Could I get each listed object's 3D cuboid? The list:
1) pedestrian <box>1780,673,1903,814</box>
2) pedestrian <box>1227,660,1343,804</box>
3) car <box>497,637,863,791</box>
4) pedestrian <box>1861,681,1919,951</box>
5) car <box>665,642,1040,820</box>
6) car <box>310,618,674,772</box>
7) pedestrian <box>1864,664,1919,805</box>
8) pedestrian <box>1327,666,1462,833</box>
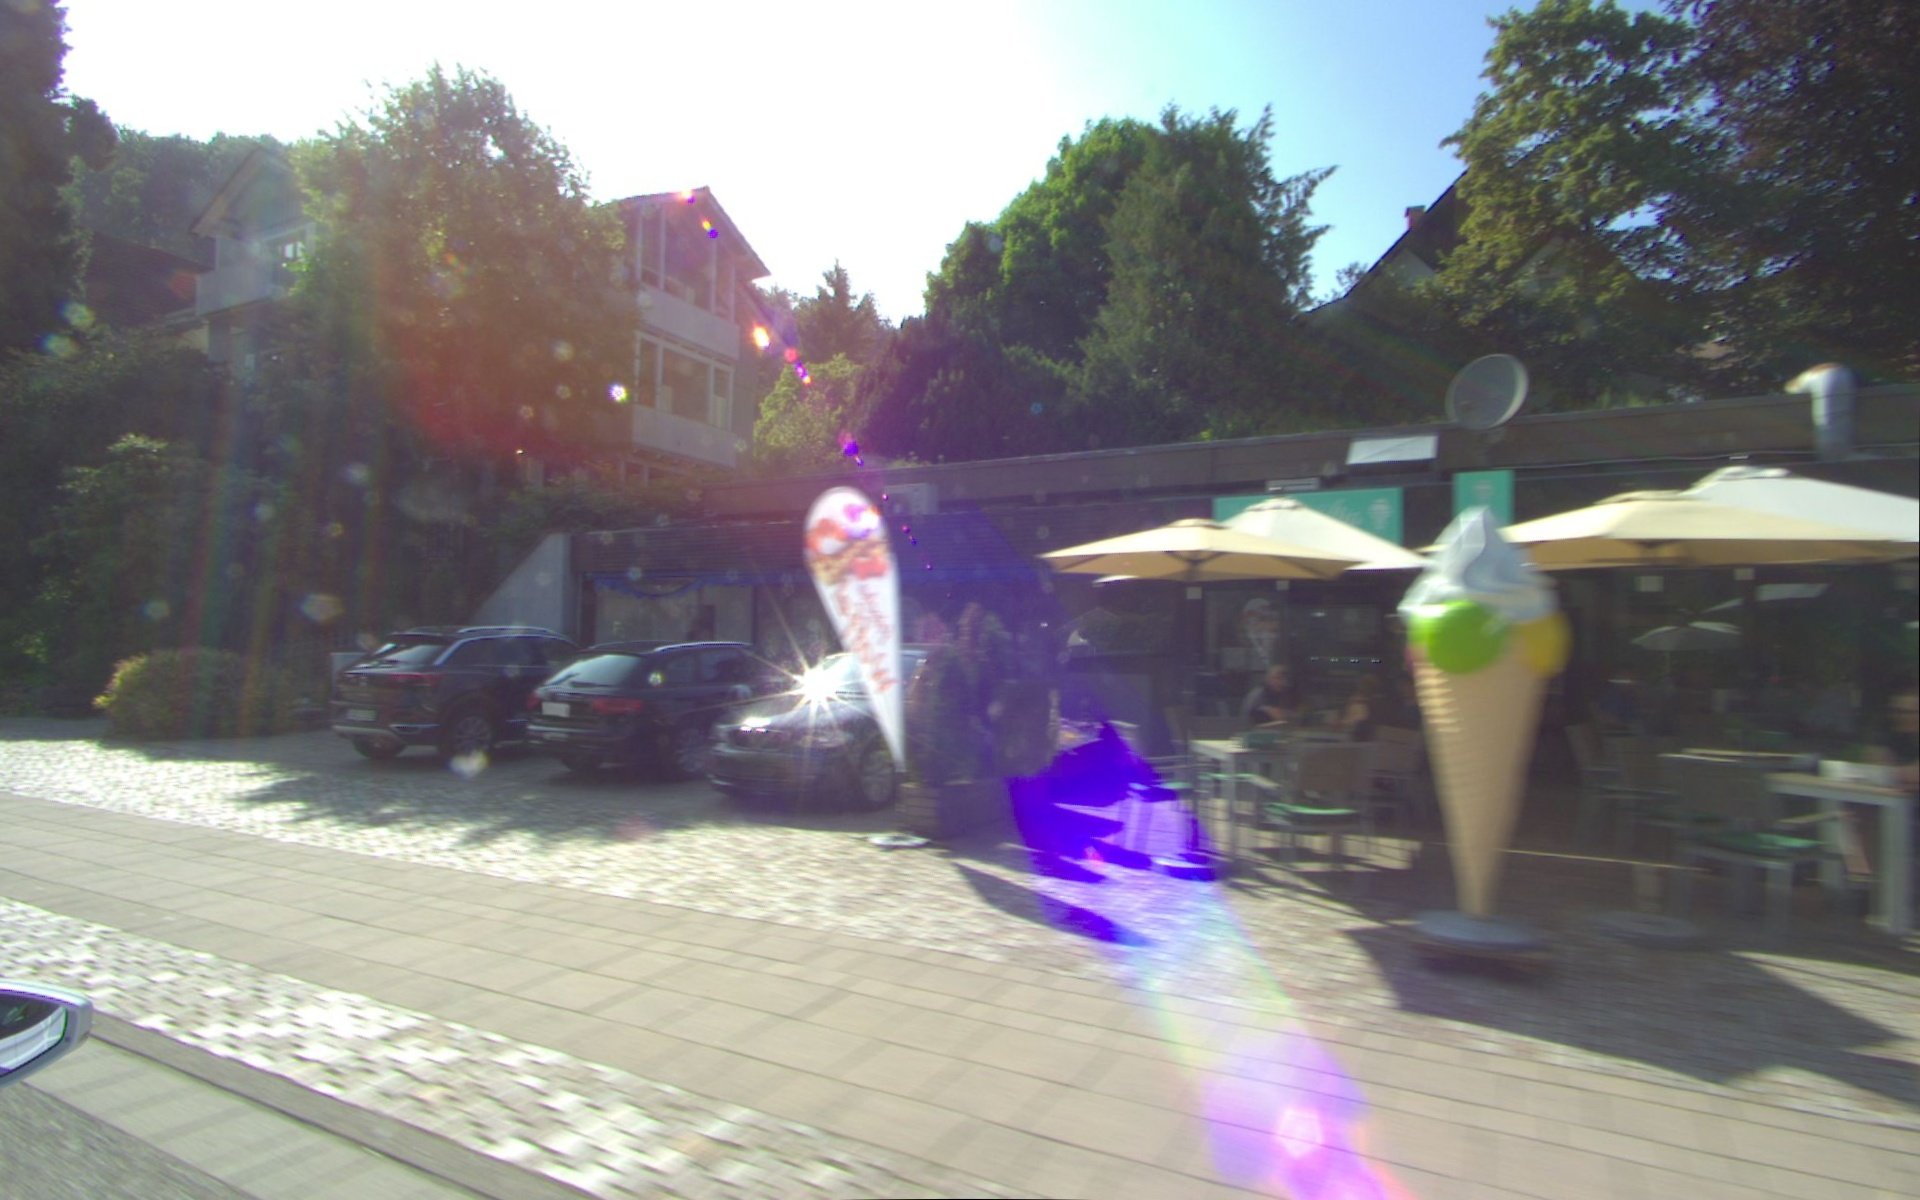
[{"bbox_3d":[8.307,1.318,9.443,0.678,1.224,0.697,1,-1,-30],"label":"pedestrian"},{"bbox_3d":[3.108,1.227,9.598,0.692,1.277,0.807,1,-1,-36],"label":"pedestrian"},{"bbox_3d":[-2.994,1.163,11.627,1.722,1.433,4.107,-1,-2,29],"label":"car"},{"bbox_3d":[5.003,1.059,4.849,0.688,1.277,0.811,0,-1,19],"label":"pedestrian"},{"bbox_3d":[-0.814,1.129,10.192,1.683,1.396,4.260,-1,-2,29],"label":"car"},{"bbox_3d":[-5.639,1.065,12.566,1.722,1.600,3.873,0,-2,29],"label":"car"},{"bbox_3d":[9.372,1.296,9.736,0.676,1.316,0.635,1,-1,-22],"label":"pedestrian"},{"bbox_3d":[3.647,1.210,8.416,0.692,1.277,0.807,1,-1,-36],"label":"pedestrian"}]
